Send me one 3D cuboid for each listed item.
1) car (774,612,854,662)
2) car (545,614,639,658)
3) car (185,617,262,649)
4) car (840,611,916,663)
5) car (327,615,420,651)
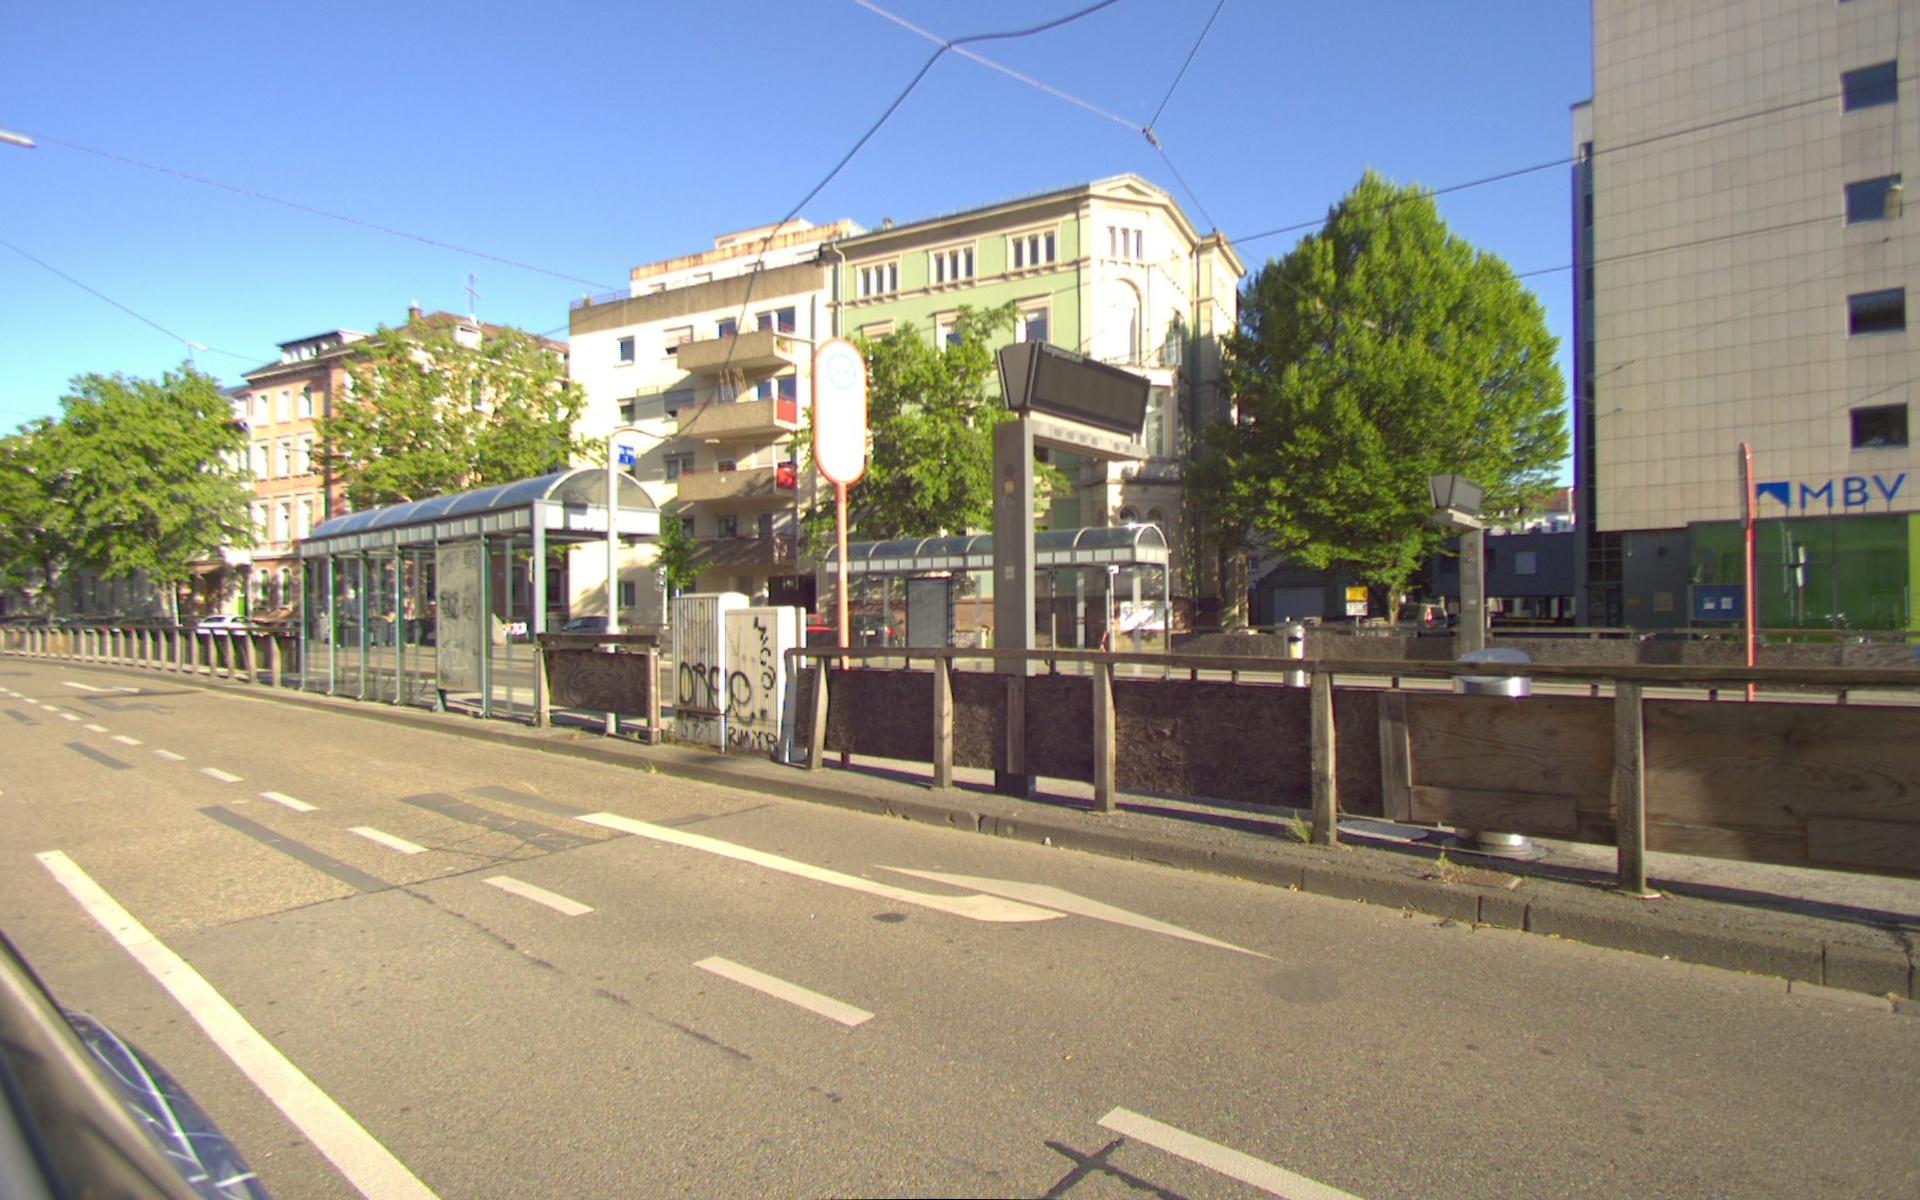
[{"bbox_3d":[-4.927,1.216,34.570,1.614,1.579,3.588,-1,0,11],"label":"car"},{"bbox_3d":[-14.039,1.334,38.523,3.592,1.579,1.612,-1,0,35],"label":"car"},{"bbox_3d":[-39.404,1.739,54.218,1.607,1.579,3.601,-1,0,-2],"label":"car"},{"bbox_3d":[-2.654,1.186,33.374,1.614,1.579,3.588,-1,0,11],"label":"car"},{"bbox_3d":[-28.404,1.559,49.060,1.626,1.579,3.560,-1,0,33],"label":"car"}]
